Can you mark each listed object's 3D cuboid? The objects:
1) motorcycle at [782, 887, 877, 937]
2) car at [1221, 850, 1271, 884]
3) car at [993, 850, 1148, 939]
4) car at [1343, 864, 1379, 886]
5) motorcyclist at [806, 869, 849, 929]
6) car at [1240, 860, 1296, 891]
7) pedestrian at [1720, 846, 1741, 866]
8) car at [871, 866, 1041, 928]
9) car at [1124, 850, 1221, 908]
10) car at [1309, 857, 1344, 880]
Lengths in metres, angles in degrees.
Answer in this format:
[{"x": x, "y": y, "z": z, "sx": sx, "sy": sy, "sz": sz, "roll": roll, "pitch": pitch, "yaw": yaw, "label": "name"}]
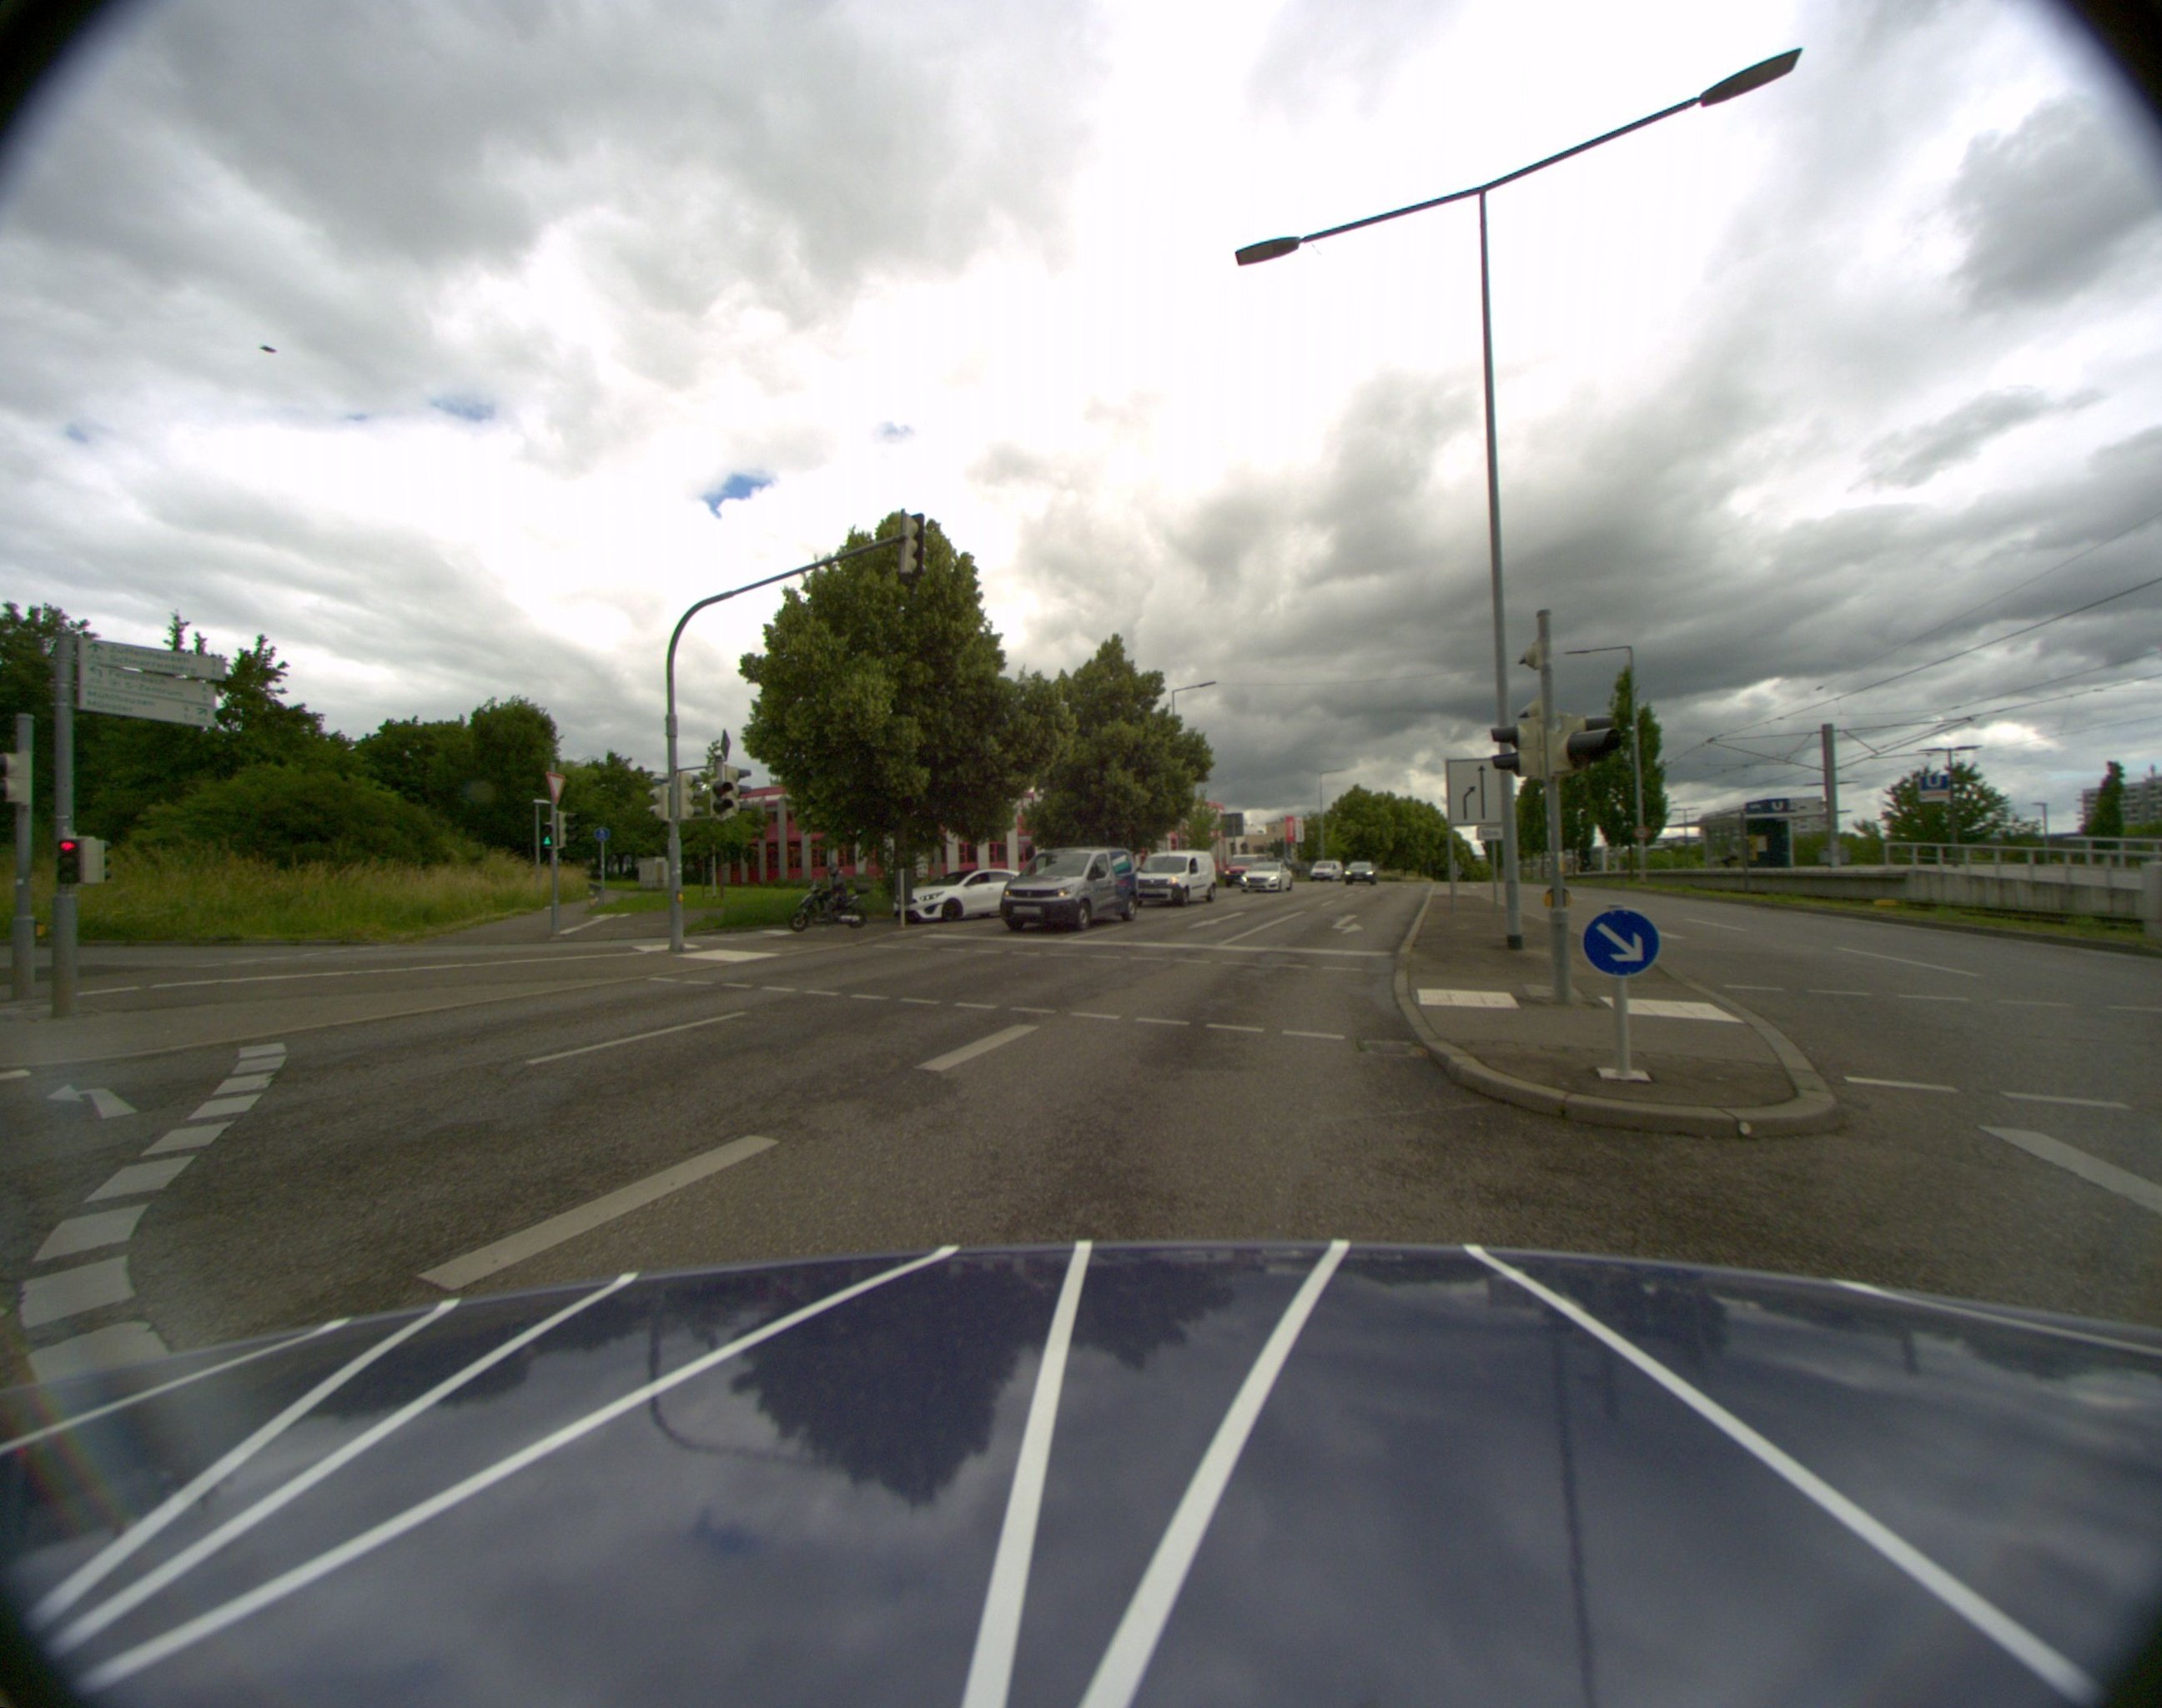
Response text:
[{"x": -6.109, "y": 1.381, "z": 18.489, "sx": 2.073, "sy": 1.084, "sz": 0.758, "roll": -1, "pitch": -1, "yaw": -30, "label": "motorcycle"}, {"x": 10.160, "y": 0.816, "z": 46.539, "sx": 2.180, "sy": 1.893, "sz": 4.463, "roll": 0, "pitch": -3, "yaw": 23, "label": "car"}, {"x": -0.080, "y": 0.796, "z": 17.318, "sx": 1.810, "sy": 1.769, "sz": 4.230, "roll": 0, "pitch": 0, "yaw": 26, "label": "car"}, {"x": 18.635, "y": 1.450, "z": 50.403, "sx": 1.810, "sy": 1.332, "sz": 4.232, "roll": -1, "pitch": -3, "yaw": 26, "label": "car"}, {"x": -6.165, "y": 1.079, "z": 18.452, "sx": 0.818, "sy": 1.413, "sz": 0.758, "roll": -1, "pitch": -1, "yaw": -30, "label": "motorcyclist"}, {"x": 9.036, "y": 1.077, "z": 36.520, "sx": 1.810, "sy": 1.332, "sz": 4.232, "roll": -1, "pitch": -3, "yaw": 25, "label": "car"}, {"x": 37.538, "y": 0.105, "z": 43.925, "sx": 0.749, "sy": 1.169, "sz": 0.839, "roll": -1, "pitch": 1, "yaw": 24, "label": "pedestrian"}, {"x": -3.362, "y": 1.140, "z": 21.183, "sx": 1.831, "sy": 1.411, "sz": 4.523, "roll": -3, "pitch": -1, "yaw": 39, "label": "car"}, {"x": 3.182, "y": 0.811, "z": 25.579, "sx": 1.810, "sy": 1.781, "sz": 4.706, "roll": -1, "pitch": -1, "yaw": 26, "label": "car"}, {"x": 22.102, "y": 1.288, "z": 68.281, "sx": 1.946, "sy": 1.894, "sz": 5.247, "roll": -1, "pitch": 0, "yaw": 29, "label": "car"}]
